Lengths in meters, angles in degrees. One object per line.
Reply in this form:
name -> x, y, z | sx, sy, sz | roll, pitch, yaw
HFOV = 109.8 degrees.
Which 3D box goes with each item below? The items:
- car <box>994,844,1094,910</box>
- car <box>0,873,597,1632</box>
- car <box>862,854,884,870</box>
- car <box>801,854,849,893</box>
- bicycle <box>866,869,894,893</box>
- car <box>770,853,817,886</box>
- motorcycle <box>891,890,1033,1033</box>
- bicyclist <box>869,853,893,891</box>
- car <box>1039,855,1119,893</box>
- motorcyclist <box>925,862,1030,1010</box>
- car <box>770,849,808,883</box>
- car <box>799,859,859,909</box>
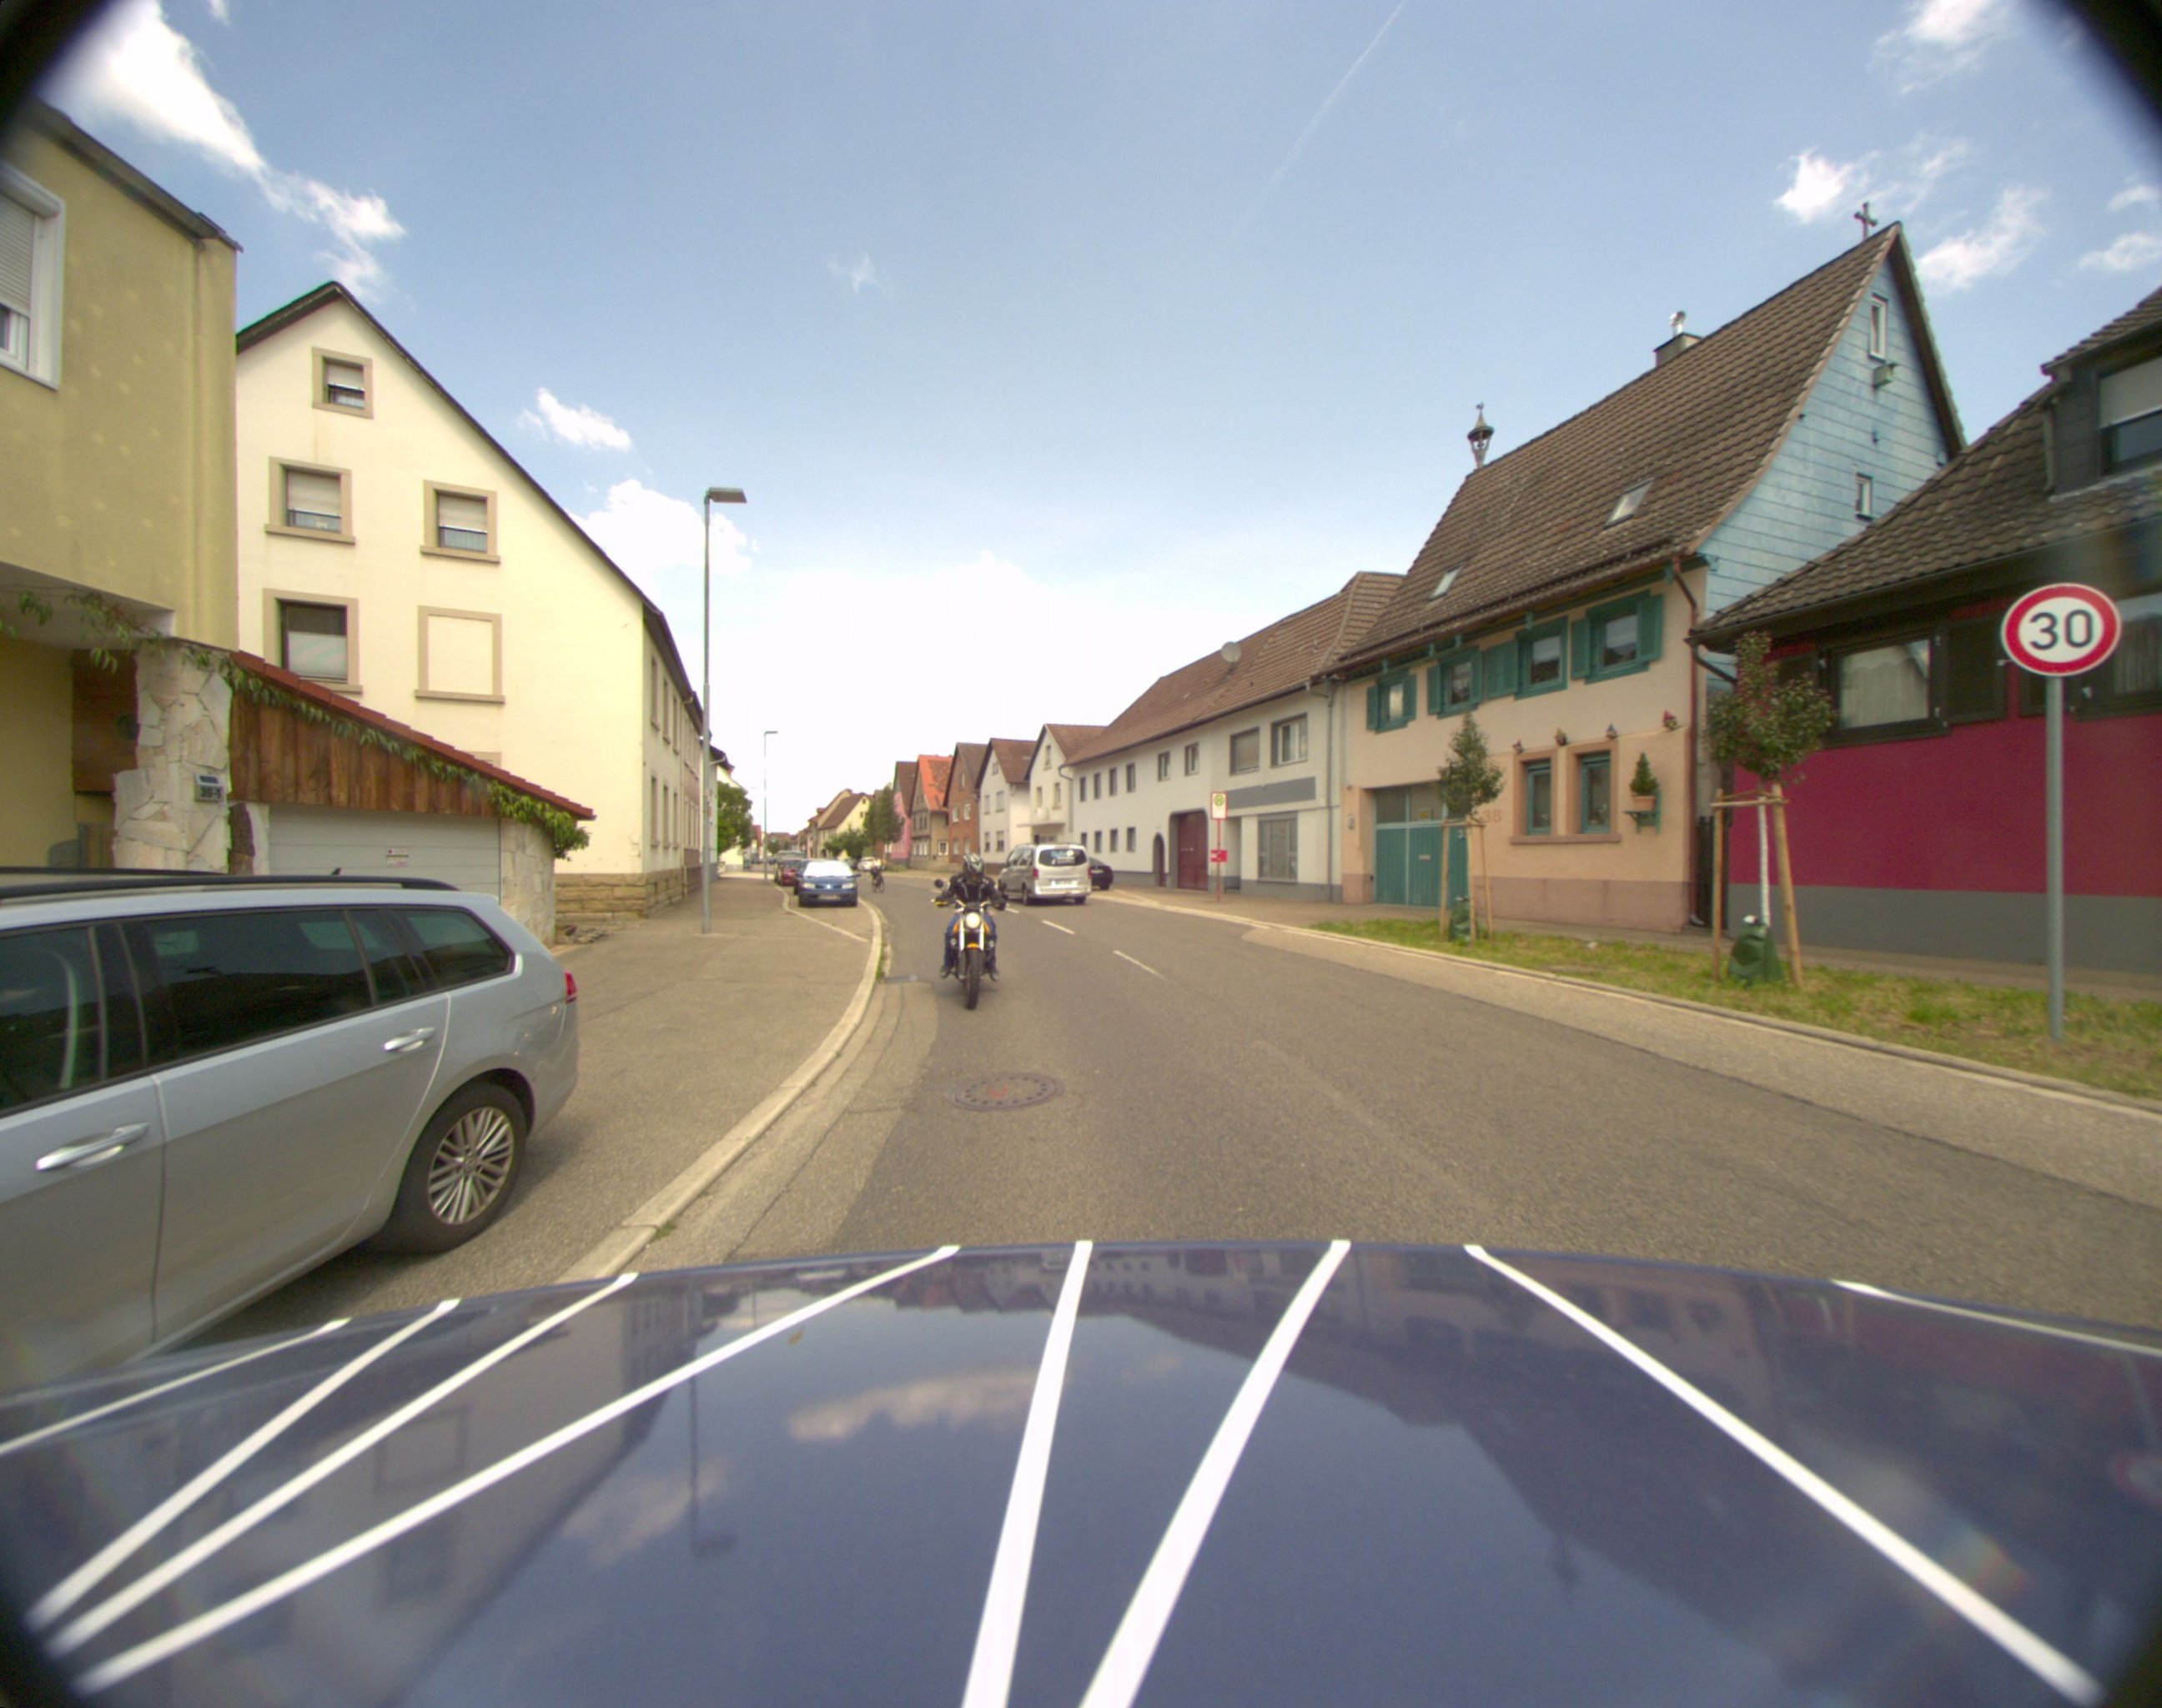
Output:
car -> -1.314, 0.622, 24.413 | 2.001, 1.790, 4.927 | -2, 2, -17
car -> -3.262, 0.896, 1.530 | 1.890, 1.521, 4.334 | 2, 0, -2
car -> -21.006, 0.789, 76.601 | 1.686, 1.521, 3.492 | -2, 2, -21
car -> -10.671, 0.824, 31.536 | 1.775, 1.520, 3.994 | -1, -2, -20
bicycle -> -9.035, 1.185, 34.214 | 0.934, 1.005, 1.923 | -1, 0, -6
car -> -15.674, 0.806, 41.276 | 1.668, 1.638, 3.990 | -2, 1, -31
motorcycle -> -1.205, 1.086, 8.312 | 0.984, 1.233, 2.104 | -2, 0, 5
bicyclist -> -9.016, 0.813, 34.307 | 0.910, 1.679, 0.760 | -1, 2, -6
car -> -0.188, 0.811, 31.899 | 1.812, 1.412, 4.542 | -2, 0, -21
motorcyclist -> -1.162, 0.913, 8.718 | 1.000, 1.591, 0.800 | -1, 2, 5
car -> -18.228, 0.678, 47.283 | 1.934, 1.905, 5.235 | -2, 2, -23
car -> -8.136, 0.921, 24.761 | 1.729, 1.378, 3.993 | 0, 1, -17
